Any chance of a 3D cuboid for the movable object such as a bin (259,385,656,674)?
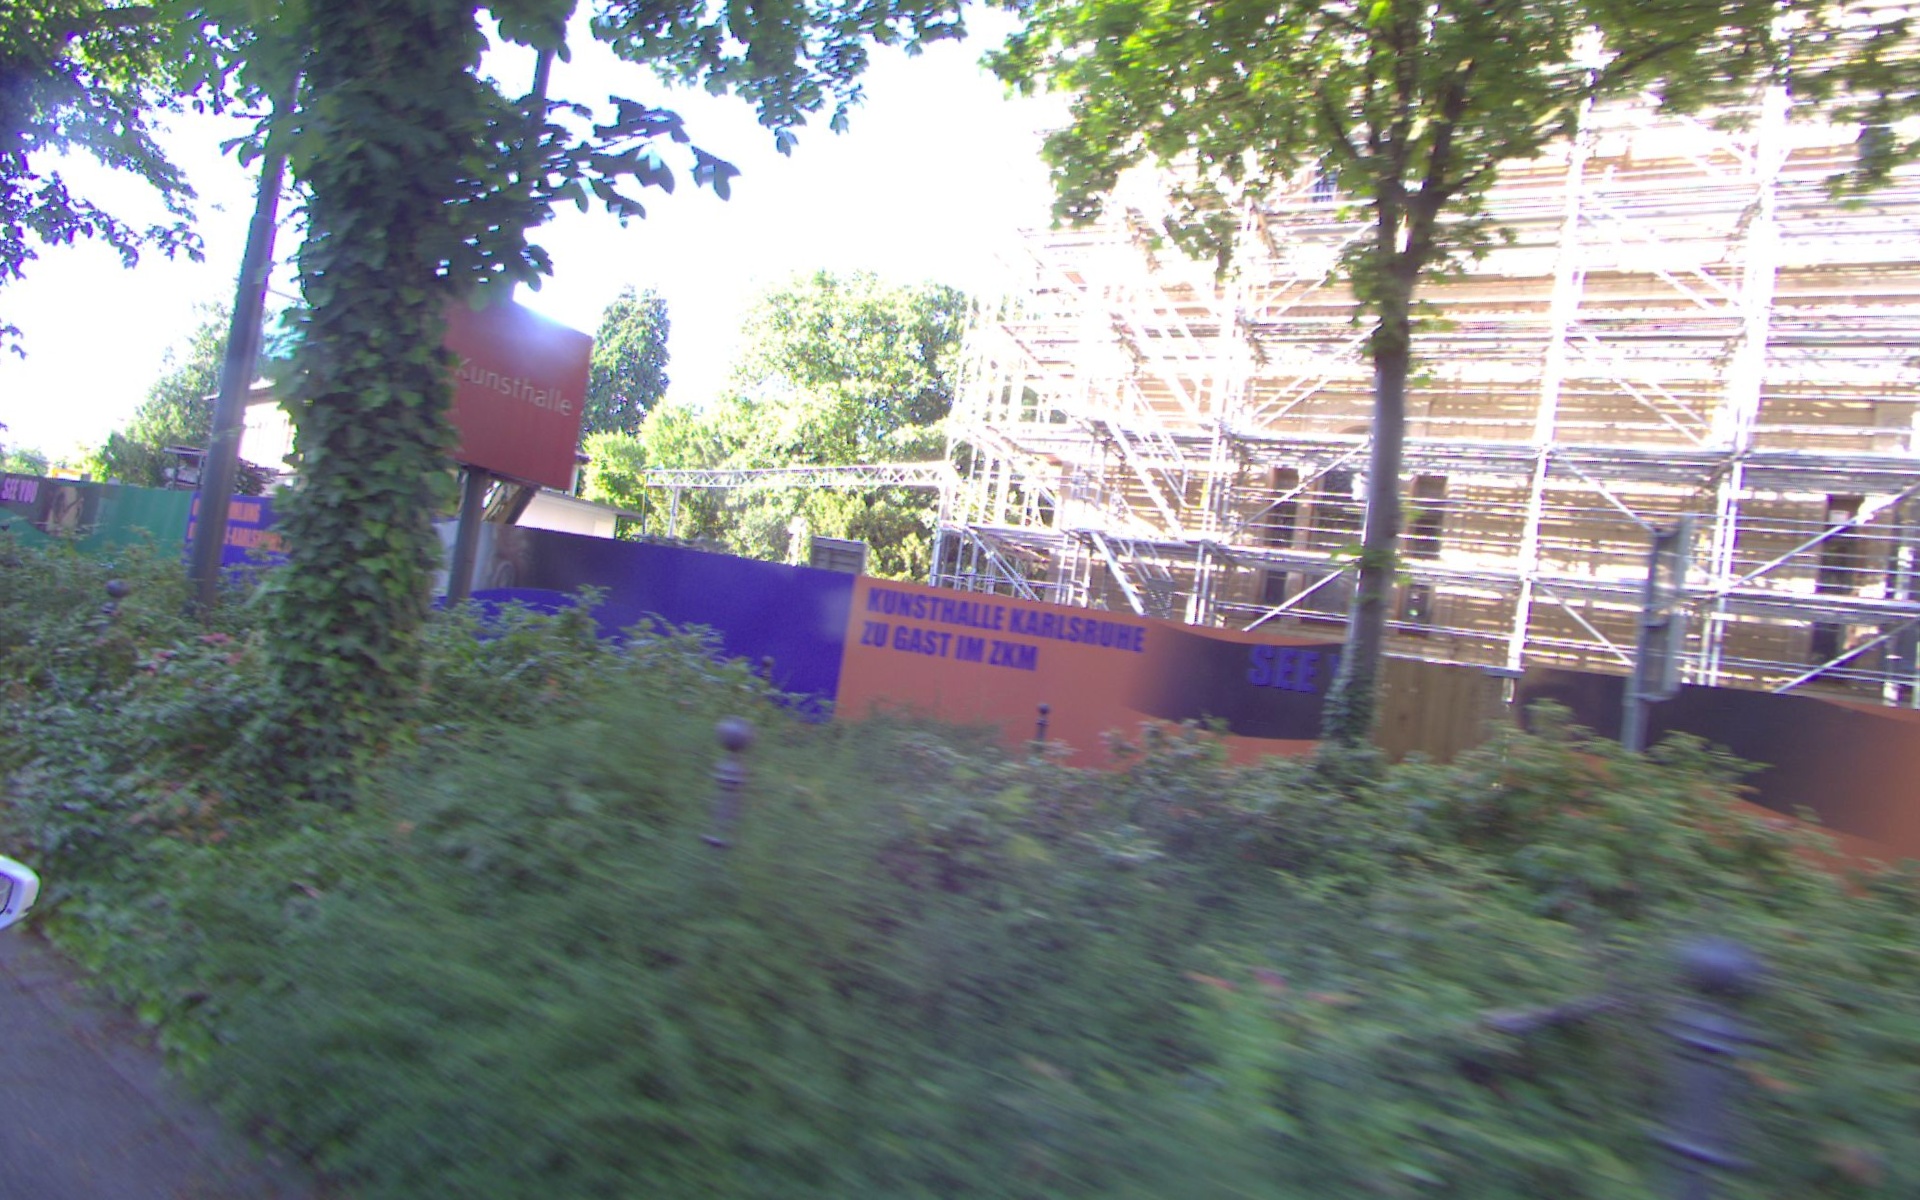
[{"bbox_3d":[-10.187,-1.418,20.061,7.781,4.591,3.311,7,-2,35],"label":"movable object such as a bin"}]
